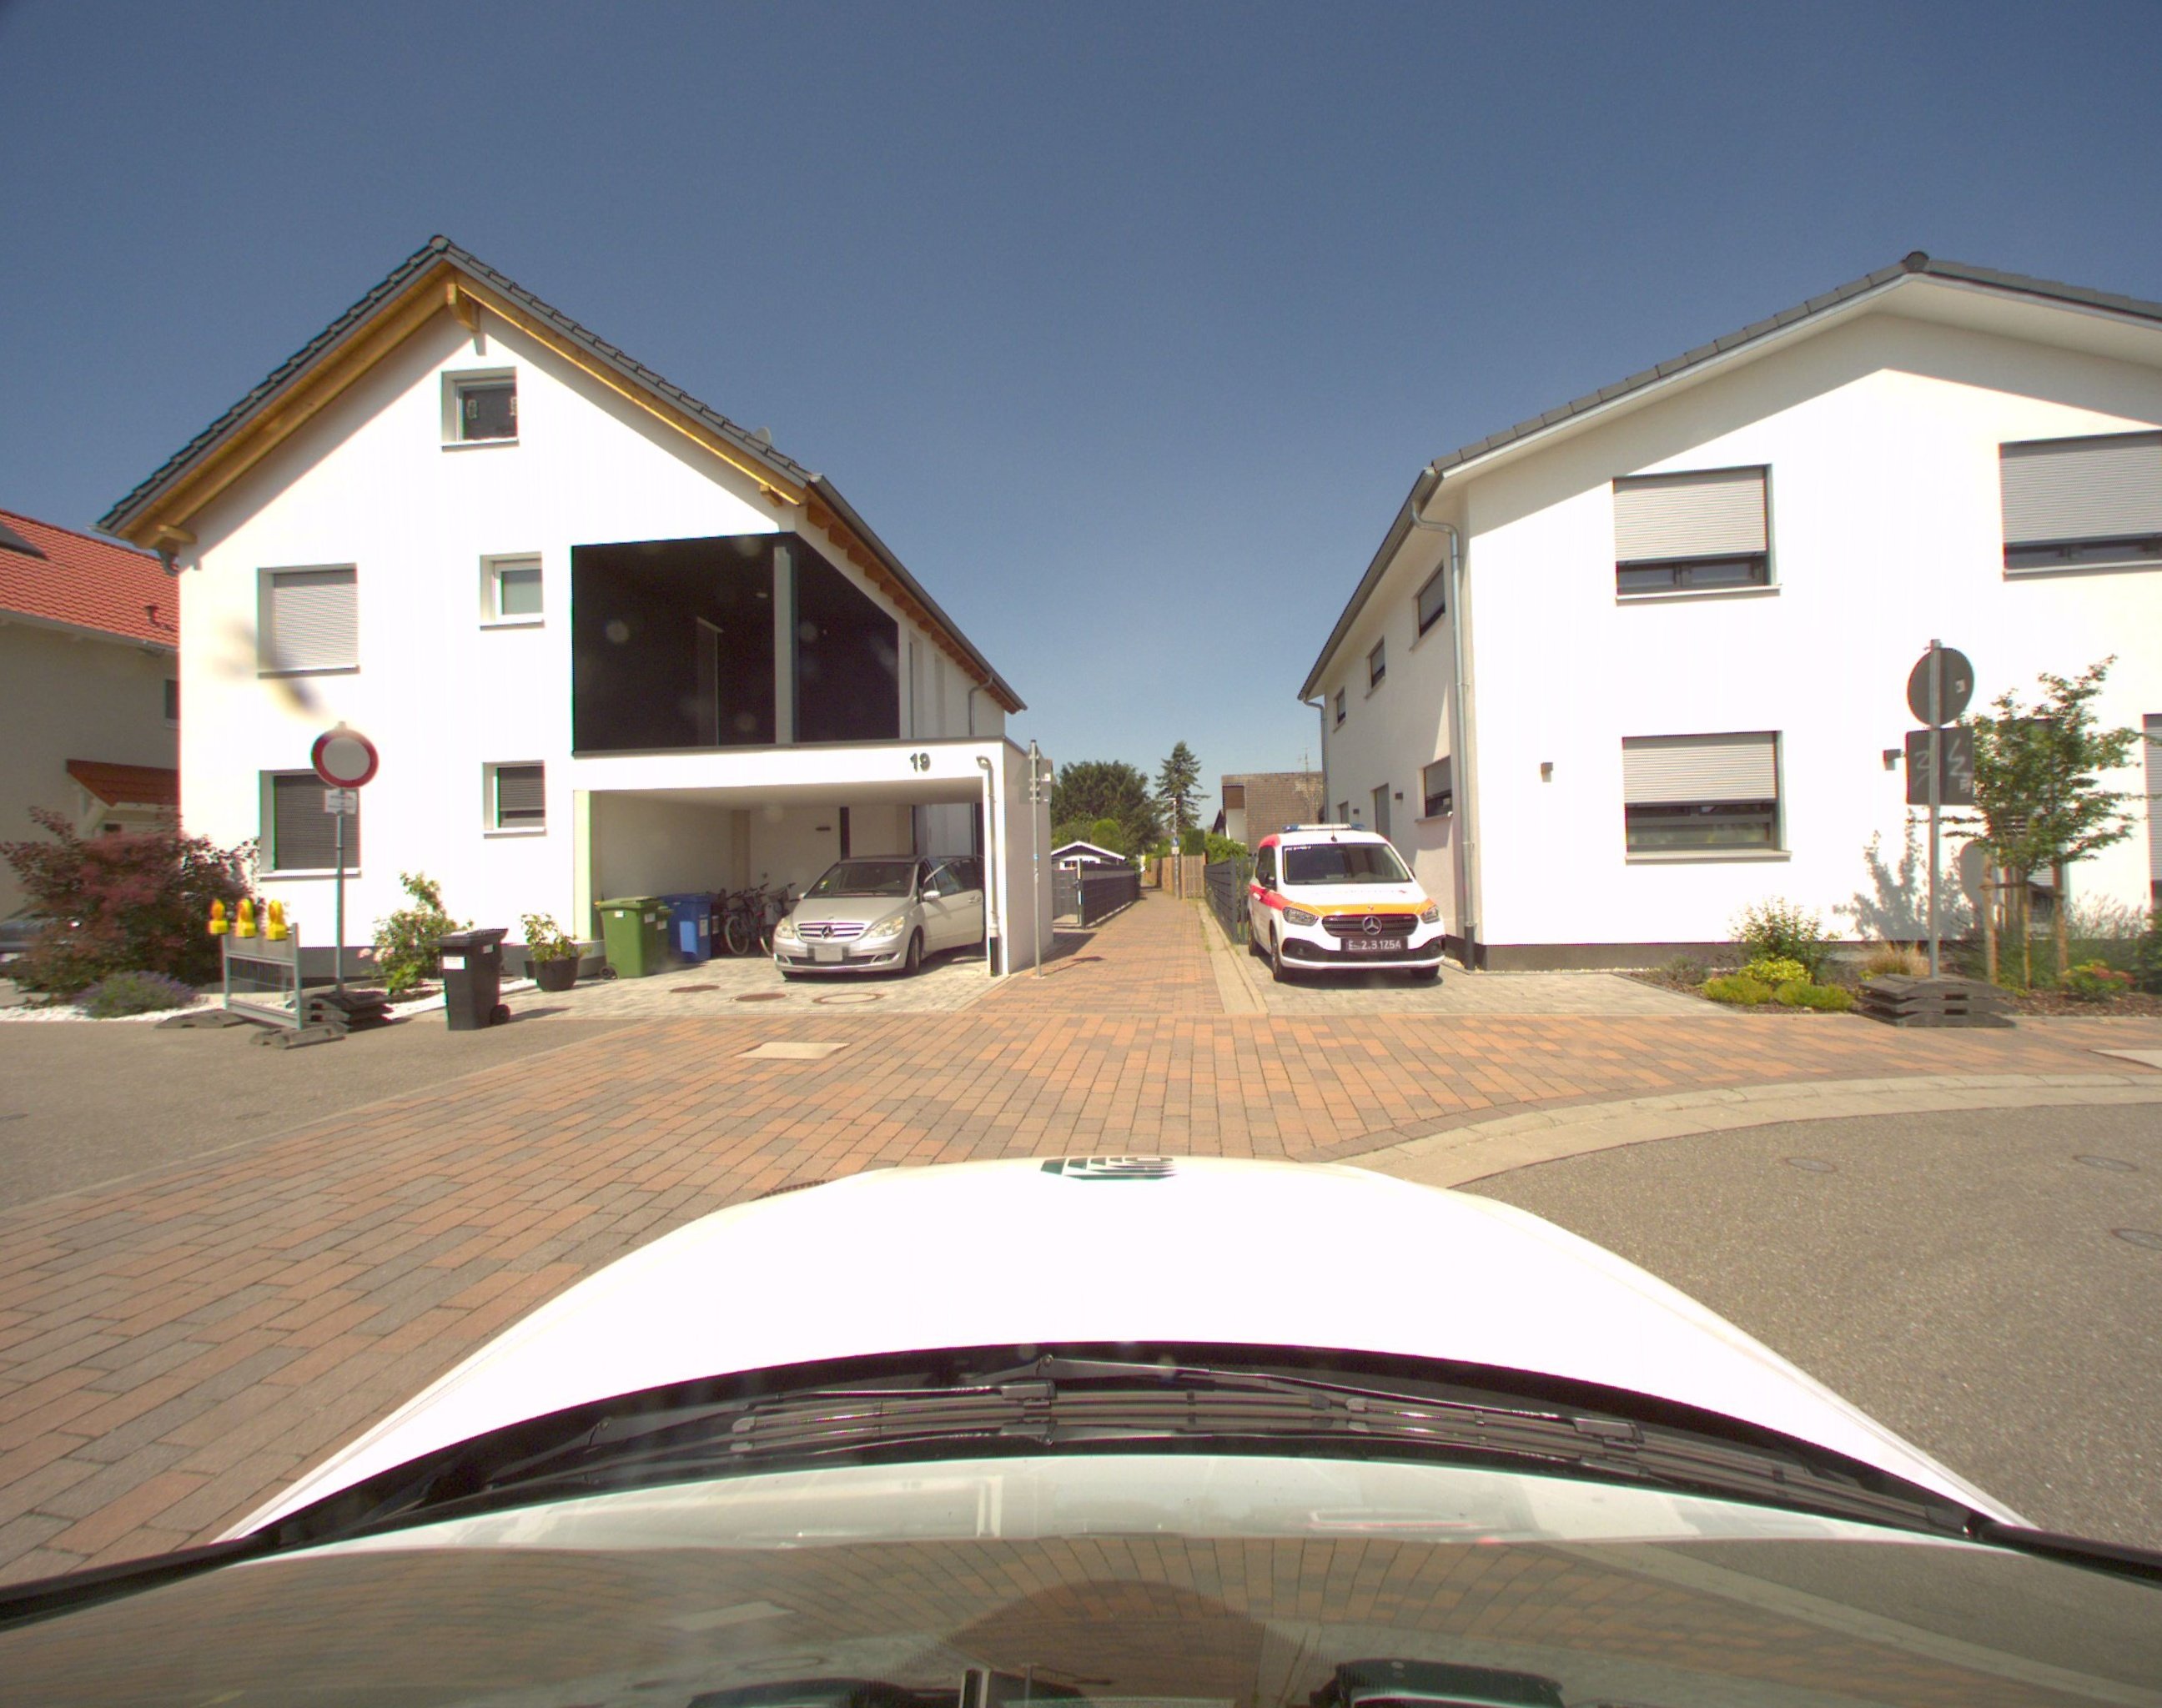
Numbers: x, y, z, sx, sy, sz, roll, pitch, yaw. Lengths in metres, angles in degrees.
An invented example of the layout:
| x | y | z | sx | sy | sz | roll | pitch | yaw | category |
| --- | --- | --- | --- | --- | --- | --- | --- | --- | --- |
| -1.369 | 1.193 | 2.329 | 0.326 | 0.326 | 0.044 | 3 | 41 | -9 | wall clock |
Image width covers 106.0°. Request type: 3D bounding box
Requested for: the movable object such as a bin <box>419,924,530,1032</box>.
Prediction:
| x | y | z | sx | sy | sz | roll | pitch | yaw | category |
| --- | --- | --- | --- | --- | --- | --- | --- | --- | --- |
| -5.855 | 1.179 | 7.885 | 0.560 | 0.937 | 0.619 | -2 | 0 | 4 | movable object such as a bin |

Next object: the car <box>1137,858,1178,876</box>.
| x | y | z | sx | sy | sz | roll | pitch | yaw | category |
| --- | --- | --- | --- | --- | --- | --- | --- | --- | --- |
| 7.937 | 1.364 | 84.581 | 4.126 | 1.717 | 1.909 | -2 | -1 | 6 | car |

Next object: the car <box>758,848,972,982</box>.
| x | y | z | sx | sy | sz | roll | pitch | yaw | category |
| --- | --- | --- | --- | --- | --- | --- | --- | --- | --- |
| -2.858 | 0.767 | 11.772 | 1.732 | 1.562 | 4.169 | -2 | -1 | 3 | car |

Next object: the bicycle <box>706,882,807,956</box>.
| x | y | z | sx | sy | sz | roll | pitch | yaw | category |
| --- | --- | --- | --- | --- | --- | --- | --- | --- | --- |
| -5.536 | 1.071 | 14.055 | 0.725 | 1.127 | 2.136 | -1 | -1 | 5 | bicycle |

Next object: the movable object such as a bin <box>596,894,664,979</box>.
| x | y | z | sx | sy | sz | roll | pitch | yaw | category |
| --- | --- | --- | --- | --- | --- | --- | --- | --- | --- |
| -6.148 | 1.116 | 11.117 | 0.597 | 1.092 | 0.500 | -3 | -1 | 4 | movable object such as a bin |

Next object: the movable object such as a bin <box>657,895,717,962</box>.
| x | y | z | sx | sy | sz | roll | pitch | yaw | category |
| --- | --- | --- | --- | --- | --- | --- | --- | --- | --- |
| -6.095 | 1.142 | 12.625 | 0.672 | 0.987 | 0.500 | -1 | -1 | 4 | movable object such as a bin |

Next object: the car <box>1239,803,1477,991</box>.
| x | y | z | sx | sy | sz | roll | pitch | yaw | category |
| --- | --- | --- | --- | --- | --- | --- | --- | --- | --- |
| 3.250 | 0.481 | 10.634 | 1.922 | 1.875 | 4.759 | -1 | -1 | 6 | car |

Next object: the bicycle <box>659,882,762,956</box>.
| x | y | z | sx | sy | sz | roll | pitch | yaw | category |
| --- | --- | --- | --- | --- | --- | --- | --- | --- | --- |
| -6.382 | 1.079 | 14.166 | 0.774 | 1.127 | 2.133 | -1 | -1 | 1 | bicycle |

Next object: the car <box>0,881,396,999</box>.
| x | y | z | sx | sy | sz | roll | pitch | yaw | category |
| --- | --- | --- | --- | --- | --- | --- | --- | --- | --- |
| -13.239 | 1.182 | 12.513 | 1.741 | 1.380 | 4.067 | -2 | -1 | 5 | car |

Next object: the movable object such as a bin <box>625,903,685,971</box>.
| x | y | z | sx | sy | sz | roll | pitch | yaw | category |
| --- | --- | --- | --- | --- | --- | --- | --- | --- | --- |
| -6.105 | 1.180 | 11.685 | 0.557 | 0.905 | 0.501 | -1 | 1 | 4 | movable object such as a bin |
